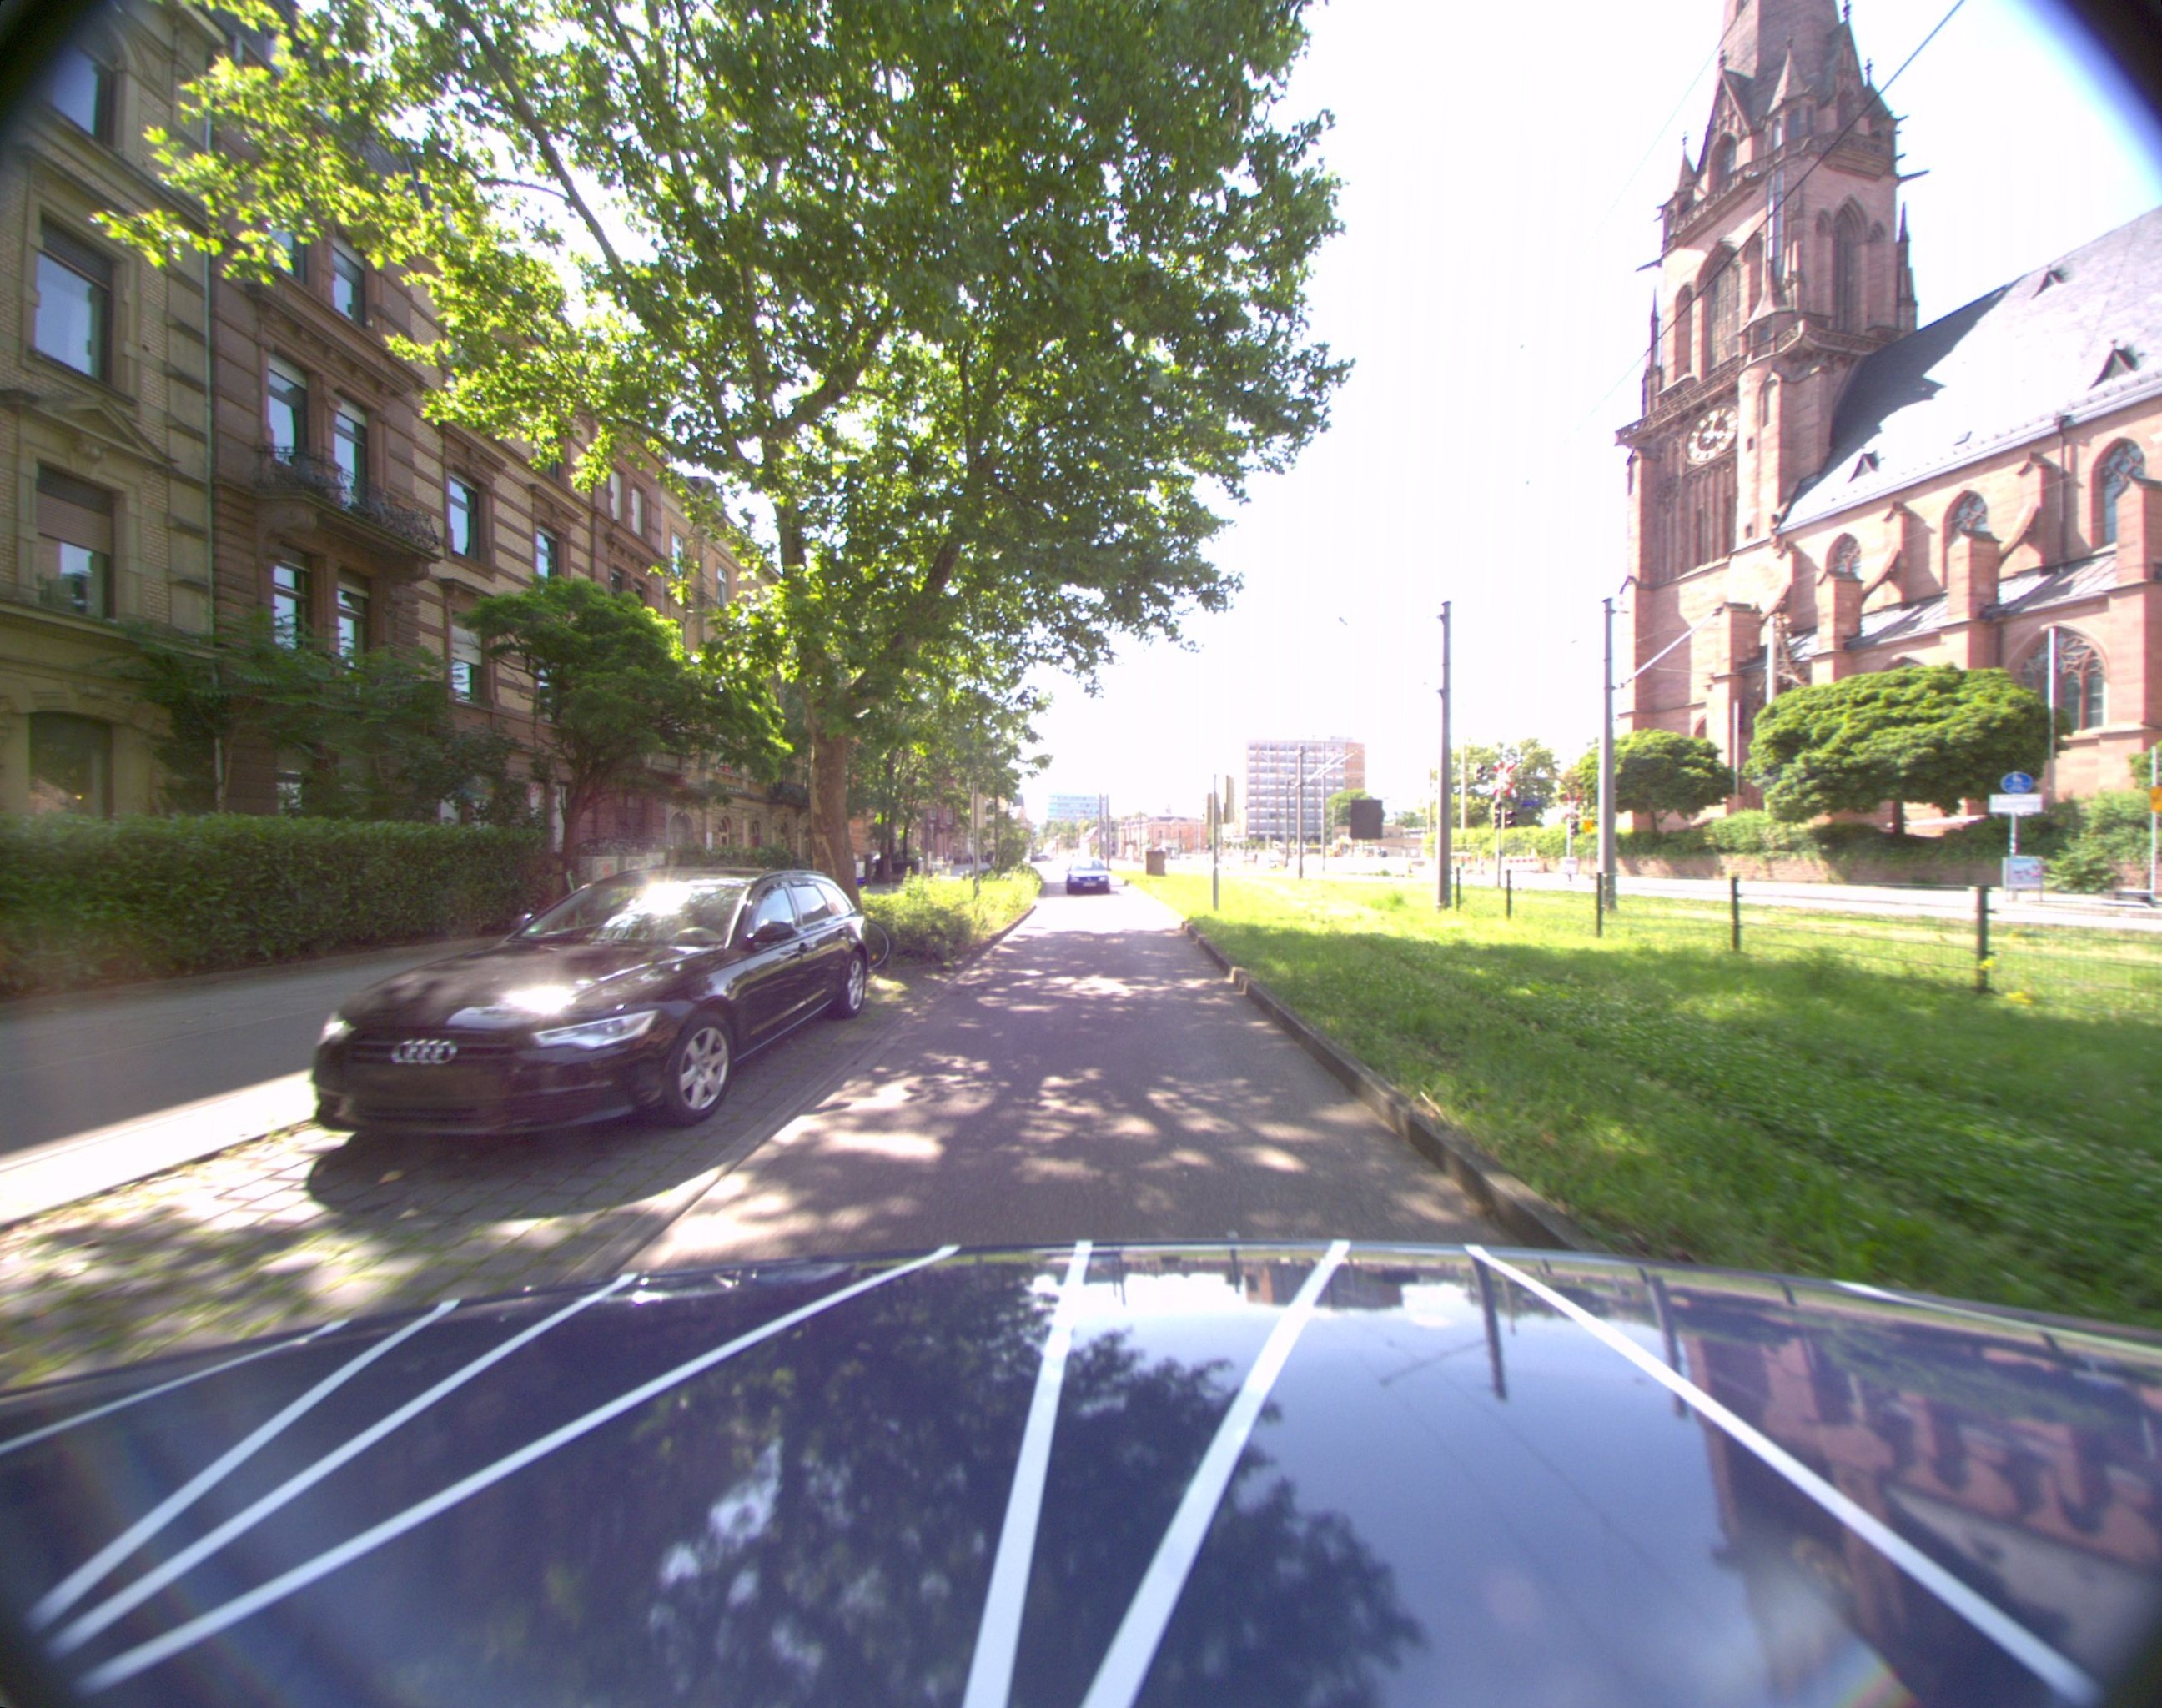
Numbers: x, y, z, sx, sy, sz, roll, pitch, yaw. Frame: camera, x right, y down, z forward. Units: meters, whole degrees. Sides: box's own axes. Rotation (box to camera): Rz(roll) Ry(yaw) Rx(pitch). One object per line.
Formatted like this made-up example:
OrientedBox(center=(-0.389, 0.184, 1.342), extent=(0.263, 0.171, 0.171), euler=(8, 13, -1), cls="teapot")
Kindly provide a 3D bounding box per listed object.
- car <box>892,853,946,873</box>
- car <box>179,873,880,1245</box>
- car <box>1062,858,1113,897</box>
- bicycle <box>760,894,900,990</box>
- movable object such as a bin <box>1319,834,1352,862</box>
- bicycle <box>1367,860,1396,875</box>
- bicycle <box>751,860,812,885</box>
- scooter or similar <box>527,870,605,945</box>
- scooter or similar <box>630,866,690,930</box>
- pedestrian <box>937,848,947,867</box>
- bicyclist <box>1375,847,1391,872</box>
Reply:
OrientedBox(center=(-12.705, 0.674, 59.906), extent=(4.093, 1.507, 1.886), euler=(0, 1, -9), cls="car")
OrientedBox(center=(-3.035, 0.967, 5.670), extent=(1.838, 1.499, 4.643), euler=(0, 0, 0), cls="car")
OrientedBox(center=(0.345, 0.902, 31.436), extent=(1.886, 1.401, 4.094), euler=(-2, 0, 3), cls="car")
OrientedBox(center=(-3.215, 1.100, 9.813), extent=(1.641, 1.082, 0.470), euler=(0, 1, -34), cls="bicycle")
OrientedBox(center=(35.224, -0.858, 105.281), extent=(3.341, 3.859, 2.931), euler=(0, 1, -34), cls="movable object such as a bin")
OrientedBox(center=(21.504, 0.947, 54.429), extent=(0.658, 1.040, 1.965), euler=(0, 1, -29), cls="bicycle")
OrientedBox(center=(-13.625, 0.817, 34.661), extent=(2.583, 1.105, 1.111), euler=(0, 1, -20), cls="bicycle")
OrientedBox(center=(-9.040, 0.909, 13.375), extent=(0.583, 1.240, 1.145), euler=(0, 1, 0), cls="scooter or similar")
OrientedBox(center=(-8.898, 0.907, 16.100), extent=(0.583, 1.275, 1.145), euler=(0, 1, 2), cls="scooter or similar")
OrientedBox(center=(-13.044, 0.339, 71.432), extent=(0.797, 1.708, 0.967), euler=(0, 1, -1), cls="pedestrian")
OrientedBox(center=(21.564, 0.365, 54.286), extent=(0.646, 1.752, 0.792), euler=(0, 1, -28), cls="bicyclist")
